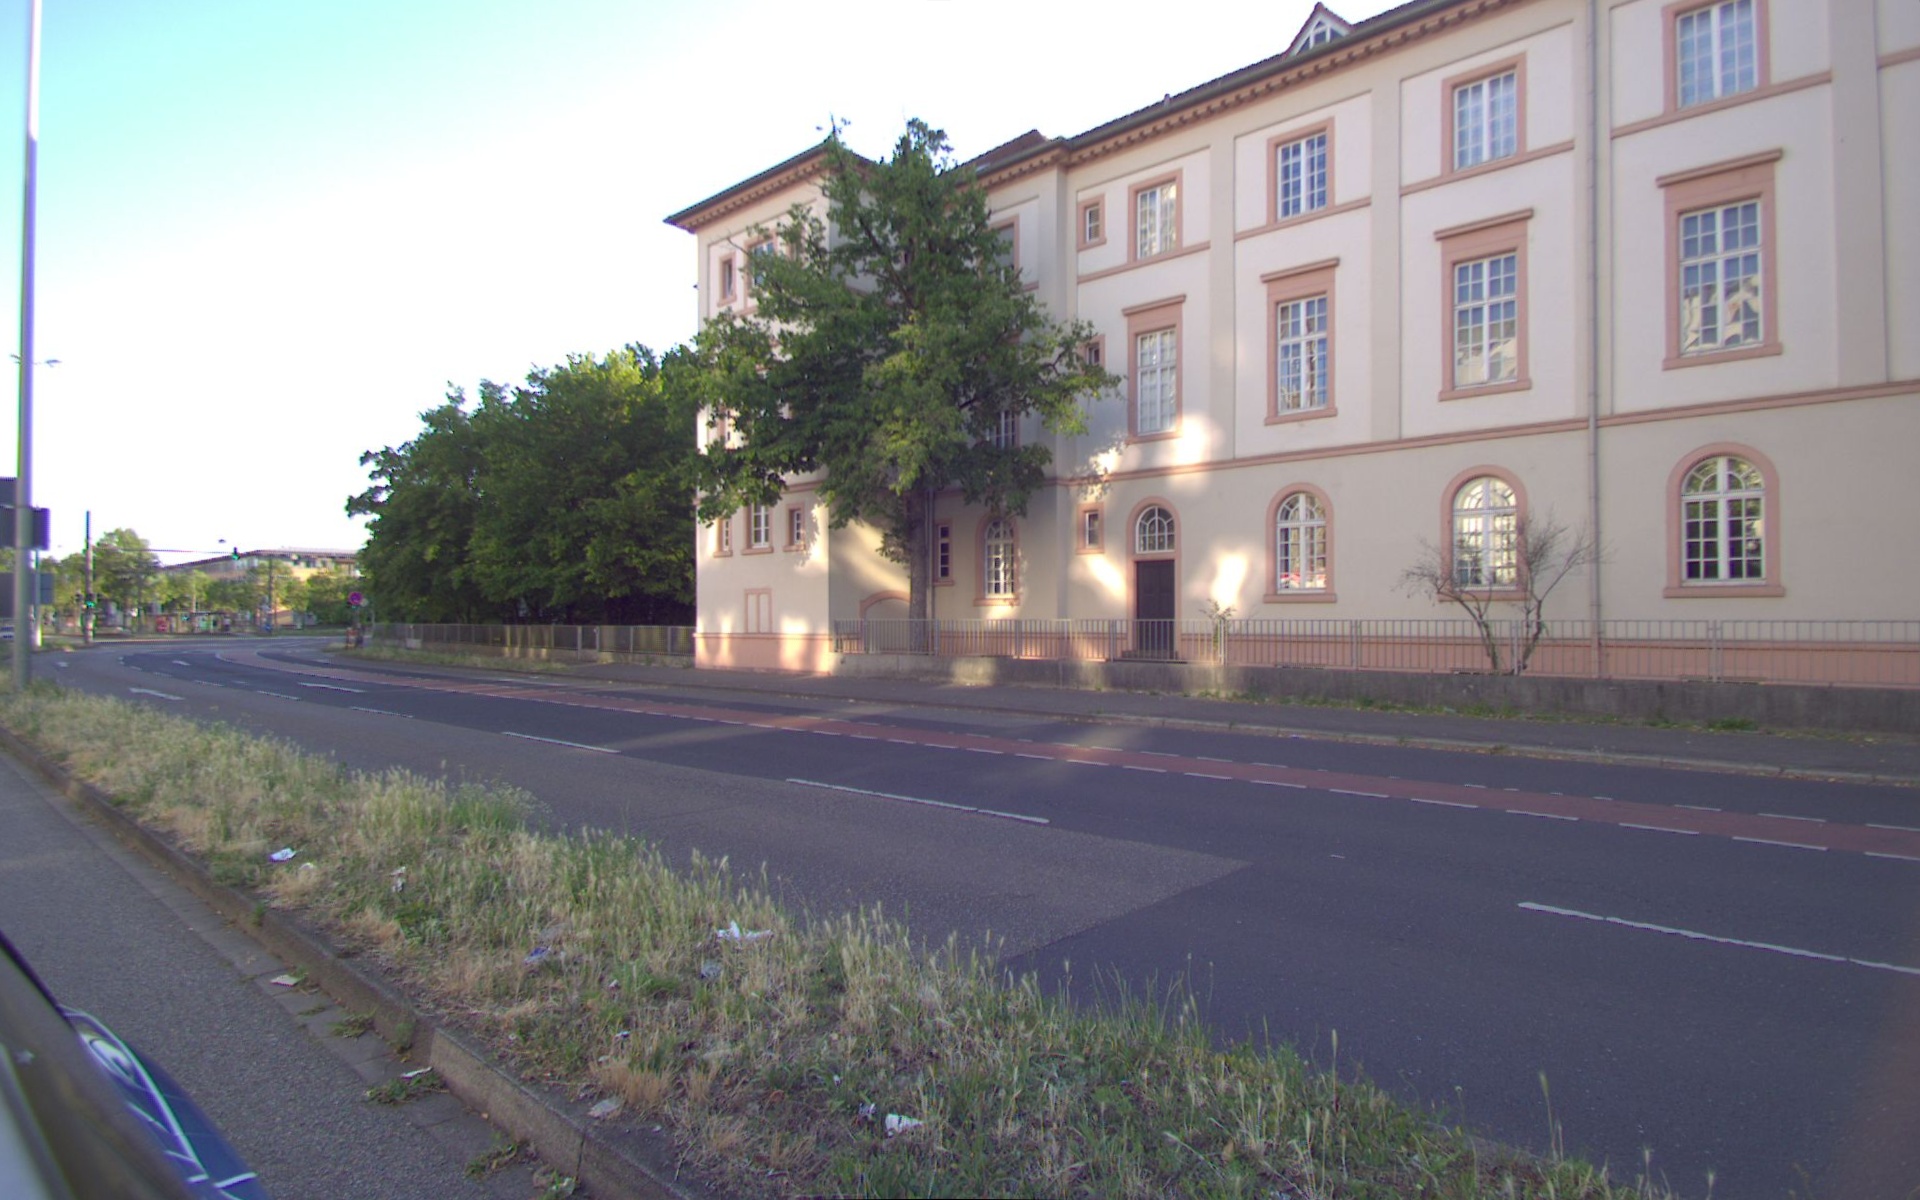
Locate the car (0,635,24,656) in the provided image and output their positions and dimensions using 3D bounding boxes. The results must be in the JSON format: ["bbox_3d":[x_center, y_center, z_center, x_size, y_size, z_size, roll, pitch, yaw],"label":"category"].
[{"bbox_3d":[-68.871,3.285,73.089,1.650,1.429,4.447,-1,-1,-40],"label":"car"}]

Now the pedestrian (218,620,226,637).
[{"bbox_3d":[-85.382,3.306,117.099,0.664,2.029,0.549,-2,-2,41],"label":"pedestrian"}]
